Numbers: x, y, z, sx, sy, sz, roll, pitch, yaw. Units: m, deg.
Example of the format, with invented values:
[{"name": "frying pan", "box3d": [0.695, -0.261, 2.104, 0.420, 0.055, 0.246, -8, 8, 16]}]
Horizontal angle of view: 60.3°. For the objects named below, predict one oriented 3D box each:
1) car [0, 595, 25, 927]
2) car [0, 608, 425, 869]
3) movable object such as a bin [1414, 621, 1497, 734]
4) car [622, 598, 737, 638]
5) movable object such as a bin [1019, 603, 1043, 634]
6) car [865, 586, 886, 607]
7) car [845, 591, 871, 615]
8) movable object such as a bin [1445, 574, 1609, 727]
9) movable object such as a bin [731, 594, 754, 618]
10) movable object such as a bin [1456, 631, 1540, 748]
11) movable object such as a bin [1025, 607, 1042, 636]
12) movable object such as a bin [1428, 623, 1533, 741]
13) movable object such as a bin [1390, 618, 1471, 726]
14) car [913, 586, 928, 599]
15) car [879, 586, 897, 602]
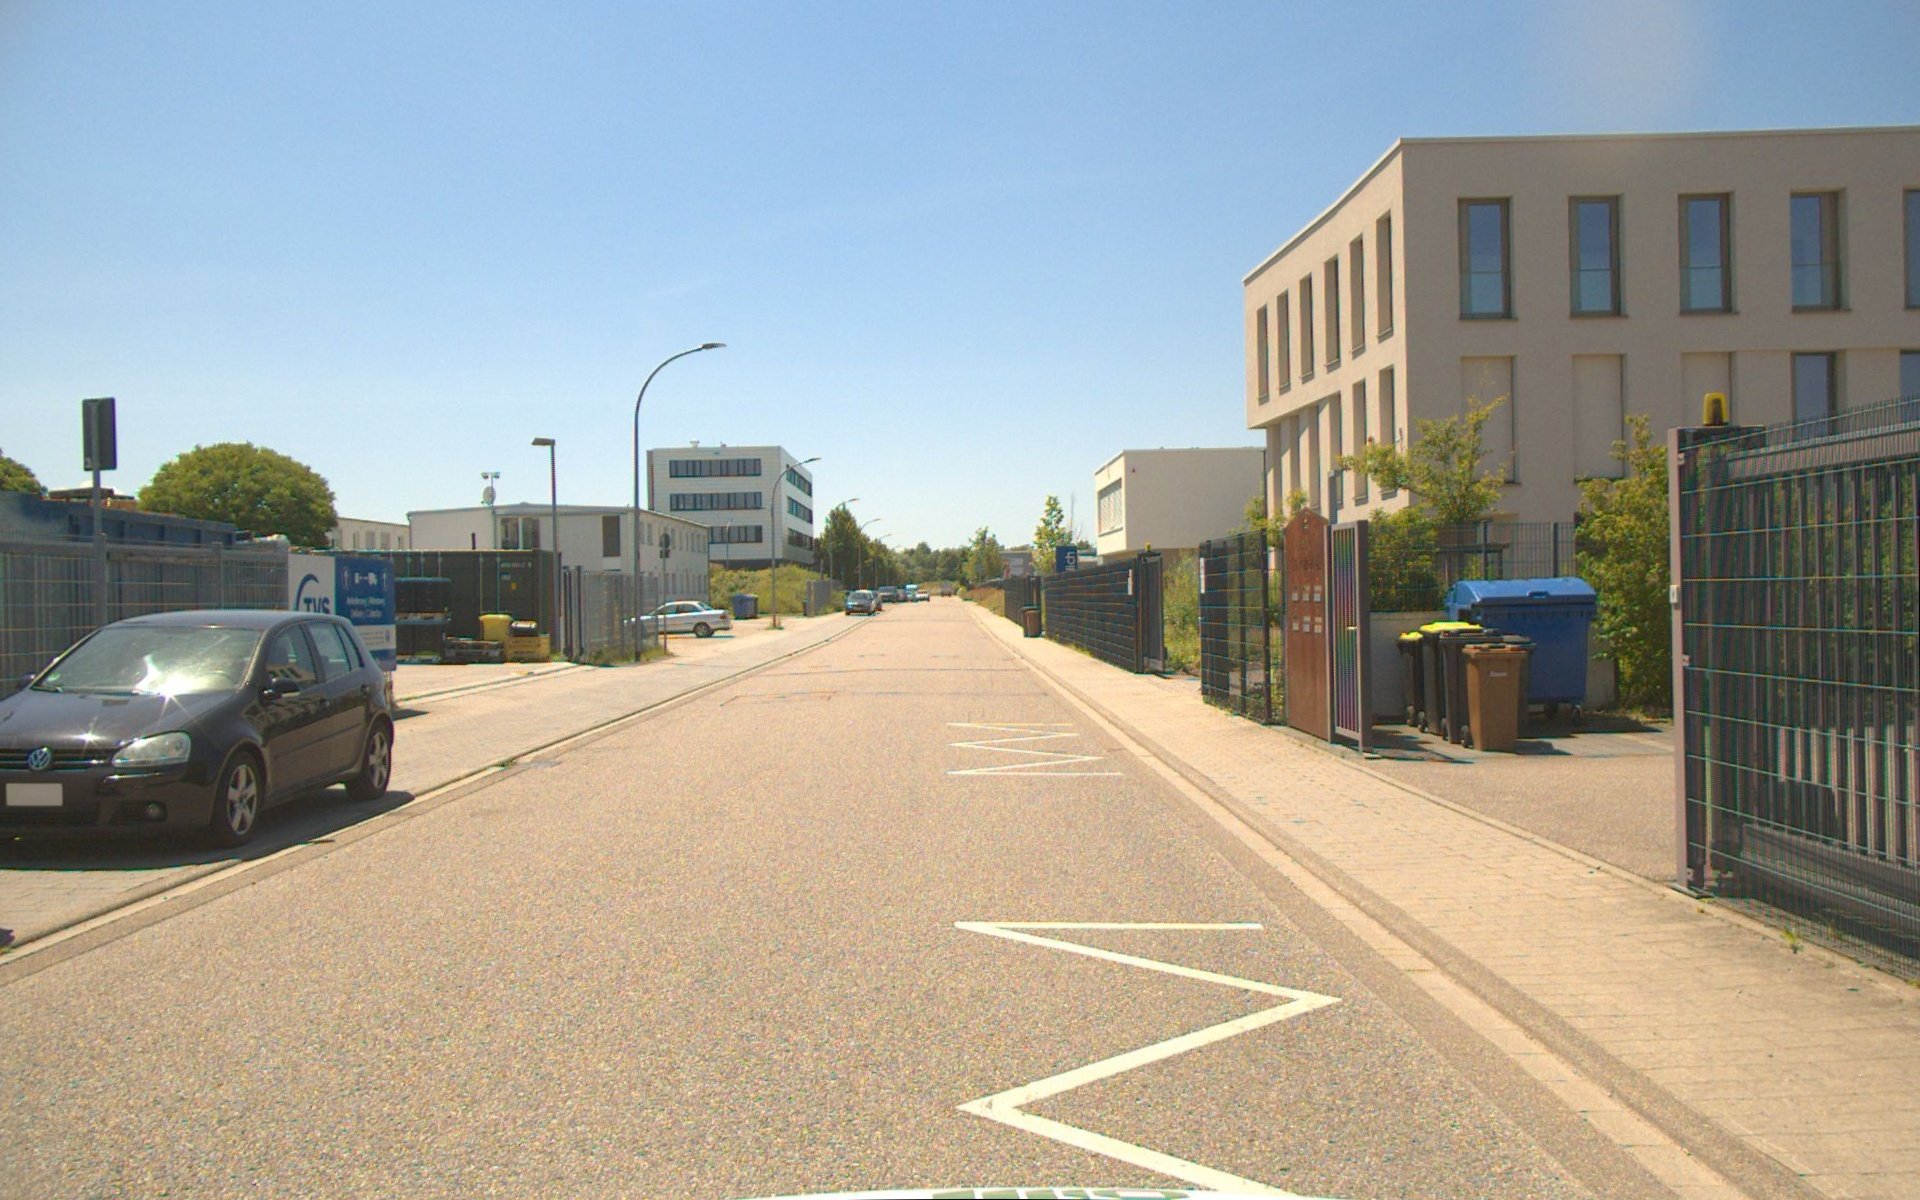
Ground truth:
[{"name": "car", "box3d": [-5.378, 0.769, 5.813, 1.733, 1.583, 4.500, 0, 0, -2]}, {"name": "car", "box3d": [-5.366, 0.817, 11.785, 1.733, 1.487, 4.333, 0, 0, -1]}, {"name": "movable object such as a bin", "box3d": [4.848, 0.748, 16.221, 0.592, 1.054, 0.650, -2, 0, 0]}, {"name": "car", "box3d": [-11.012, 0.704, 65.137, 4.190, 1.388, 1.897, -2, 0, -1]}, {"name": "movable object such as a bin", "box3d": [2.577, 0.669, 59.721, 0.763, 1.037, 0.665, -5, 1, 3]}, {"name": "car", "box3d": [-6.241, -0.287, 122.555, 1.437, 1.516, 3.207, -1, 0, 0]}, {"name": "car", "box3d": [-6.538, 0.166, 106.435, 1.437, 1.516, 3.207, -1, 0, 0]}, {"name": "movable object such as a bin", "box3d": [5.788, 0.502, 16.954, 1.307, 1.485, 0.948, -2, 0, -1]}, {"name": "movable object such as a bin", "box3d": [-13.137, 0.346, 100.078, 1.260, 1.436, 1.805, -1, 0, -5]}, {"name": "movable object such as a bin", "box3d": [4.870, 0.801, 14.997, 0.532, 1.012, 0.580, -2, 0, -1]}, {"name": "movable object such as a bin", "box3d": [2.613, 0.753, 58.739, 0.541, 0.944, 0.522, -5, 1, 3]}, {"name": "movable object such as a bin", "box3d": [4.898, 0.765, 15.585, 0.777, 1.054, 0.580, -2, 0, -1]}, {"name": "movable object such as a bin", "box3d": [4.835, 0.730, 17.029, 0.532, 1.054, 0.913, -2, 0, -1]}, {"name": "car", "box3d": [-4.872, -0.960, 206.118, 1.767, 1.584, 4.000, -2, 0, -1]}, {"name": "car", "box3d": [-7.036, -0.630, 161.354, 1.611, 1.516, 3.207, -1, 0, 0]}]
